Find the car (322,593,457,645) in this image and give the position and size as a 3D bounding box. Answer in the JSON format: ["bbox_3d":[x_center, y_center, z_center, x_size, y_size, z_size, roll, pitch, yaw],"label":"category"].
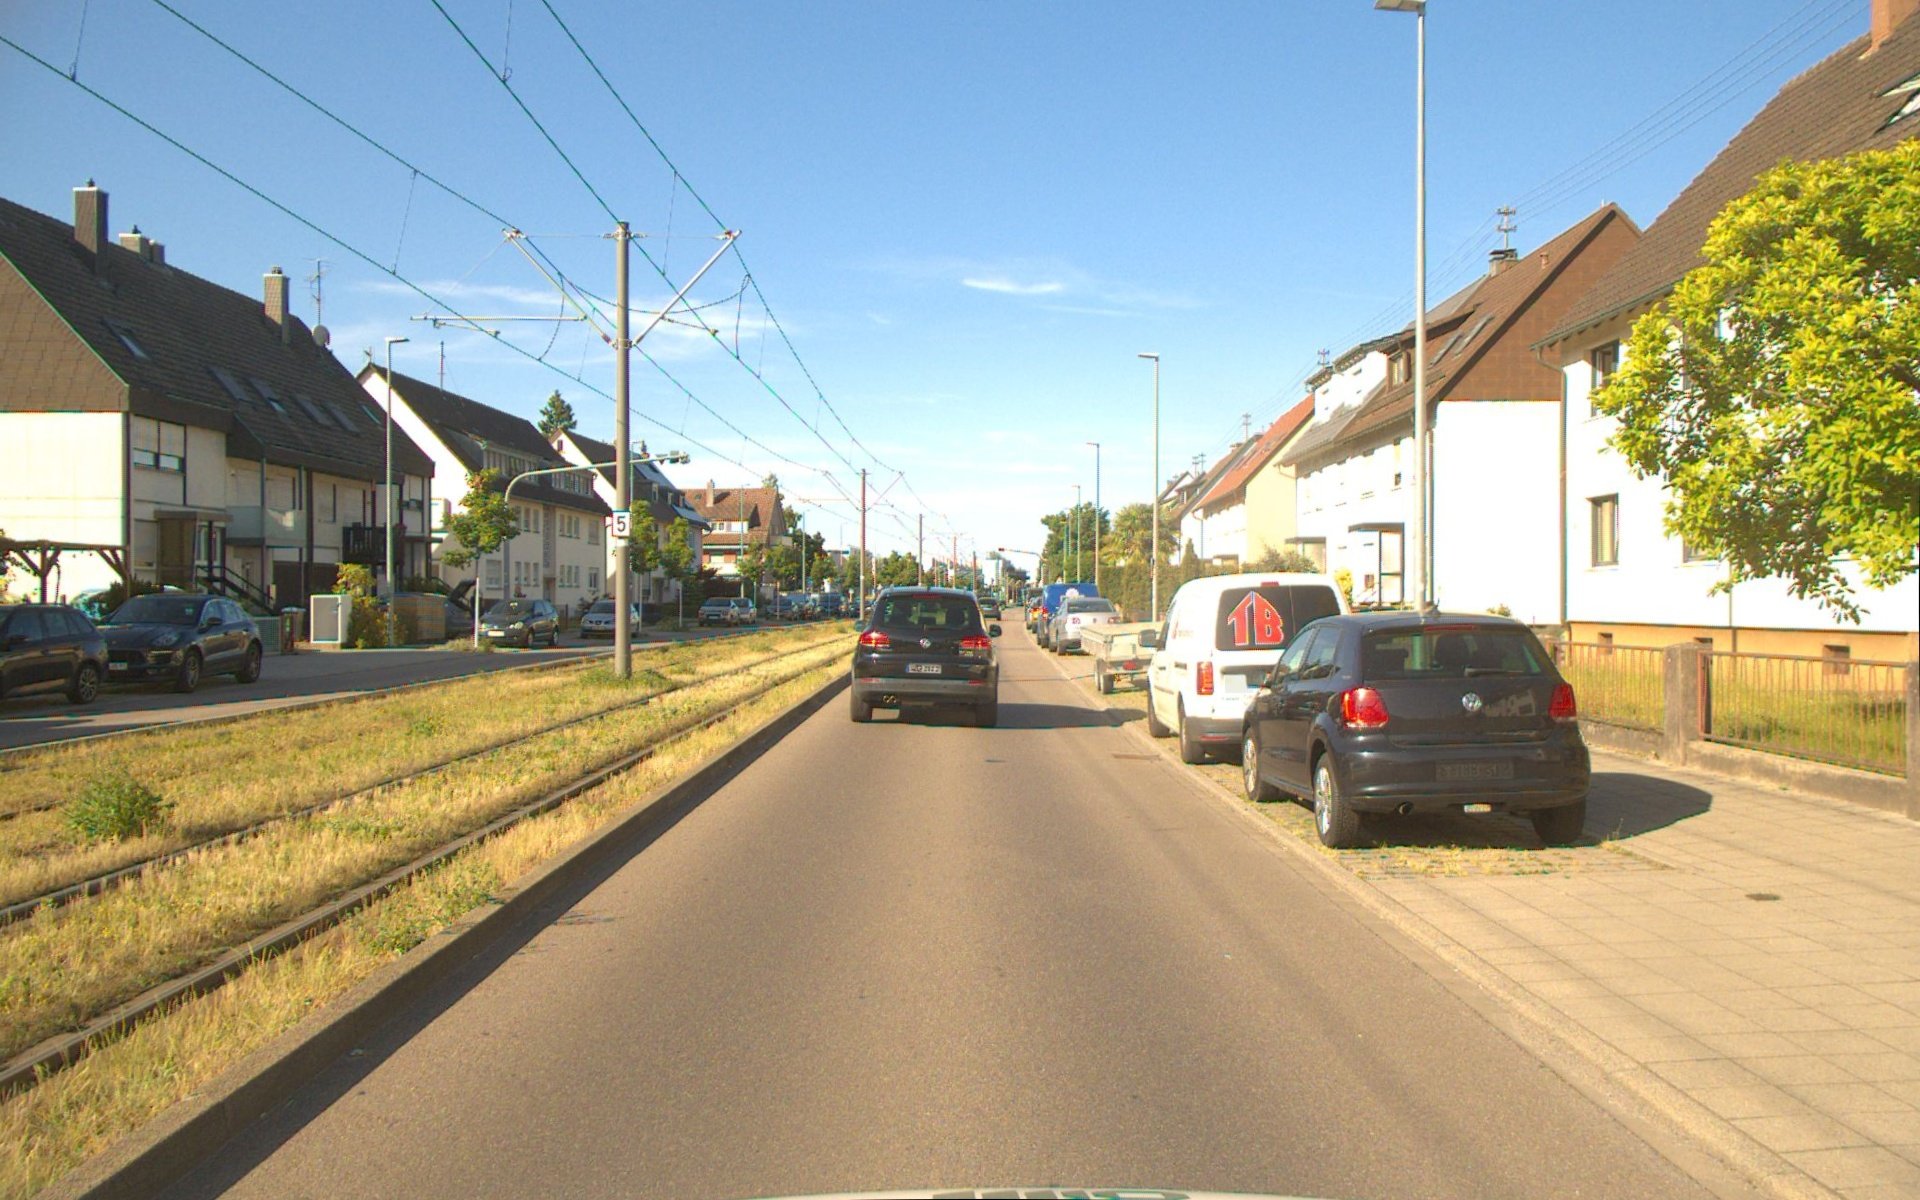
[{"bbox_3d":[-18.391,0.604,53.470,3.827,1.595,1.732,-1,0,-7],"label":"car"}]

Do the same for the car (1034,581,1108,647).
[{"bbox_3d":[3.349,0.402,50.914,1.952,1.894,4.917,0,0,0],"label":"car"}]

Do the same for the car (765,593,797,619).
[{"bbox_3d":[-11.676,0.401,108.324,1.626,1.609,3.999,0,-2,0],"label":"car"}]

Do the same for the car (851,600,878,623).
[{"bbox_3d":[-7.511,0.908,130.507,1.835,1.684,3.999,0,-2,0],"label":"car"}]

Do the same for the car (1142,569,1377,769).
[{"bbox_3d":[2.986,0.619,17.424,1.655,1.808,4.656,0,0,0],"label":"car"}]

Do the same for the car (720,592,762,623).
[{"bbox_3d":[-12.184,0.404,92.352,1.766,1.660,4.000,0,0,0],"label":"car"}]

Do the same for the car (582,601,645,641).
[{"bbox_3d":[-13.168,0.826,63.046,1.585,1.434,3.717,0,-2,0],"label":"car"}]

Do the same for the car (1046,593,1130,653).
[{"bbox_3d":[3.386,0.585,44.547,1.750,1.466,4.458,-2,0,-2],"label":"car"}]

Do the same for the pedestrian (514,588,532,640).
[{"bbox_3d":[-14.949,0.482,56.598,0.458,1.776,0.535,0,0,-1],"label":"pedestrian"}]

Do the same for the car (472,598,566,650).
[{"bbox_3d":[-13.357,0.693,50.300,1.584,1.478,3.720,-1,0,5],"label":"car"}]

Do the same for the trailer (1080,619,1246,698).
[{"bbox_3d":[3.302,0.928,27.769,2.159,1.113,4.371,-2,0,-1],"label":"trailer"}]

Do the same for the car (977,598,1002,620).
[{"bbox_3d":[1.956,0.572,110.392,1.540,1.415,3.614,0,0,0],"label":"car"}]

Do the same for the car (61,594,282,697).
[{"bbox_3d":[-13.593,0.724,28.864,1.767,1.625,4.809,0,0,-3],"label":"car"}]

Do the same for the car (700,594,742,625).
[{"bbox_3d":[-12.438,0.486,86.192,1.625,1.523,3.579,-1,0,0],"label":"car"}]

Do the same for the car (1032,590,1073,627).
[{"bbox_3d":[4.047,0.371,72.781,1.611,1.561,3.864,0,0,0],"label":"car"}]

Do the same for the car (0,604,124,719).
[{"bbox_3d":[-13.624,0.833,23.343,1.489,1.501,4.201,0,0,0],"label":"car"}]

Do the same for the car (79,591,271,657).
[{"bbox_3d":[-20.163,0.594,42.608,4.083,1.645,1.758,0,0,-4],"label":"car"}]

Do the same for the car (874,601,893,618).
[{"bbox_3d":[-6.590,0.807,143.109,1.435,1.479,3.287,0,-1,0],"label":"car"}]

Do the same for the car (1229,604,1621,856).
[{"bbox_3d":[3.102,0.781,11.902,1.637,1.478,4.125,-1,0,0],"label":"car"}]

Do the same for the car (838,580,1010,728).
[{"bbox_3d":[-0.572,0.648,21.514,1.777,1.700,4.251,2,0,-7],"label":"car"}]

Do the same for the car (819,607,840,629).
[{"bbox_3d":[-10.347,1.444,131.336,1.435,1.706,3.287,0,-1,0],"label":"car"}]

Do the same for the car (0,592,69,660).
[{"bbox_3d":[-25.057,0.654,41.824,4.071,1.683,1.857,0,0,3],"label":"car"}]
